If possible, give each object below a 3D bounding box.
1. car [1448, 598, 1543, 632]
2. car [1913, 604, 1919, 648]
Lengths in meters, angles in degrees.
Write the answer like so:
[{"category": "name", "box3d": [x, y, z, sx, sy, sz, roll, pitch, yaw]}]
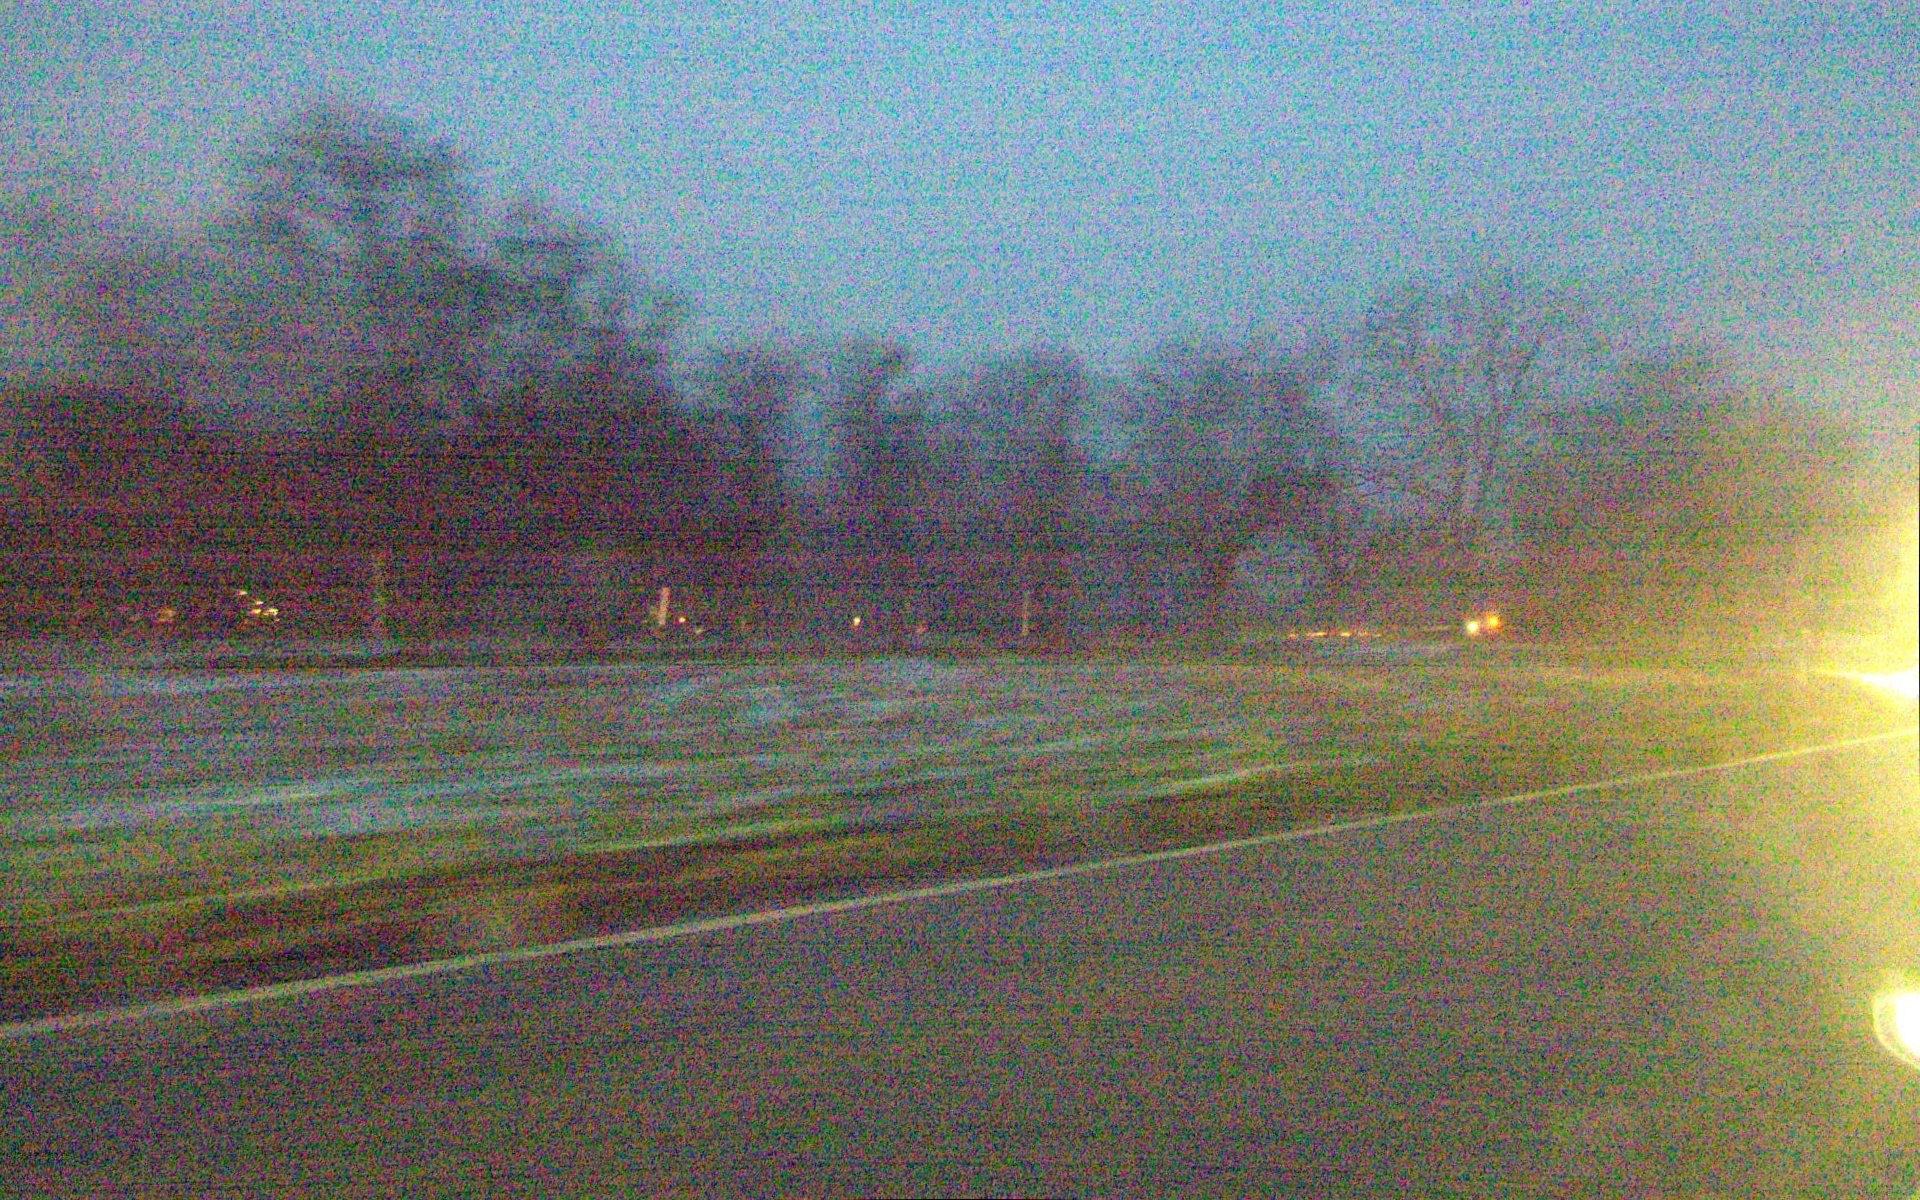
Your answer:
[{"category": "car", "box3d": [27.476, 0.771, 51.669, 4.081, 1.709, 1.694, 0, -2, 18]}, {"category": "car", "box3d": [40.813, 1.059, 39.272, 1.981, 1.758, 4.878, 1, 0, -36]}]
